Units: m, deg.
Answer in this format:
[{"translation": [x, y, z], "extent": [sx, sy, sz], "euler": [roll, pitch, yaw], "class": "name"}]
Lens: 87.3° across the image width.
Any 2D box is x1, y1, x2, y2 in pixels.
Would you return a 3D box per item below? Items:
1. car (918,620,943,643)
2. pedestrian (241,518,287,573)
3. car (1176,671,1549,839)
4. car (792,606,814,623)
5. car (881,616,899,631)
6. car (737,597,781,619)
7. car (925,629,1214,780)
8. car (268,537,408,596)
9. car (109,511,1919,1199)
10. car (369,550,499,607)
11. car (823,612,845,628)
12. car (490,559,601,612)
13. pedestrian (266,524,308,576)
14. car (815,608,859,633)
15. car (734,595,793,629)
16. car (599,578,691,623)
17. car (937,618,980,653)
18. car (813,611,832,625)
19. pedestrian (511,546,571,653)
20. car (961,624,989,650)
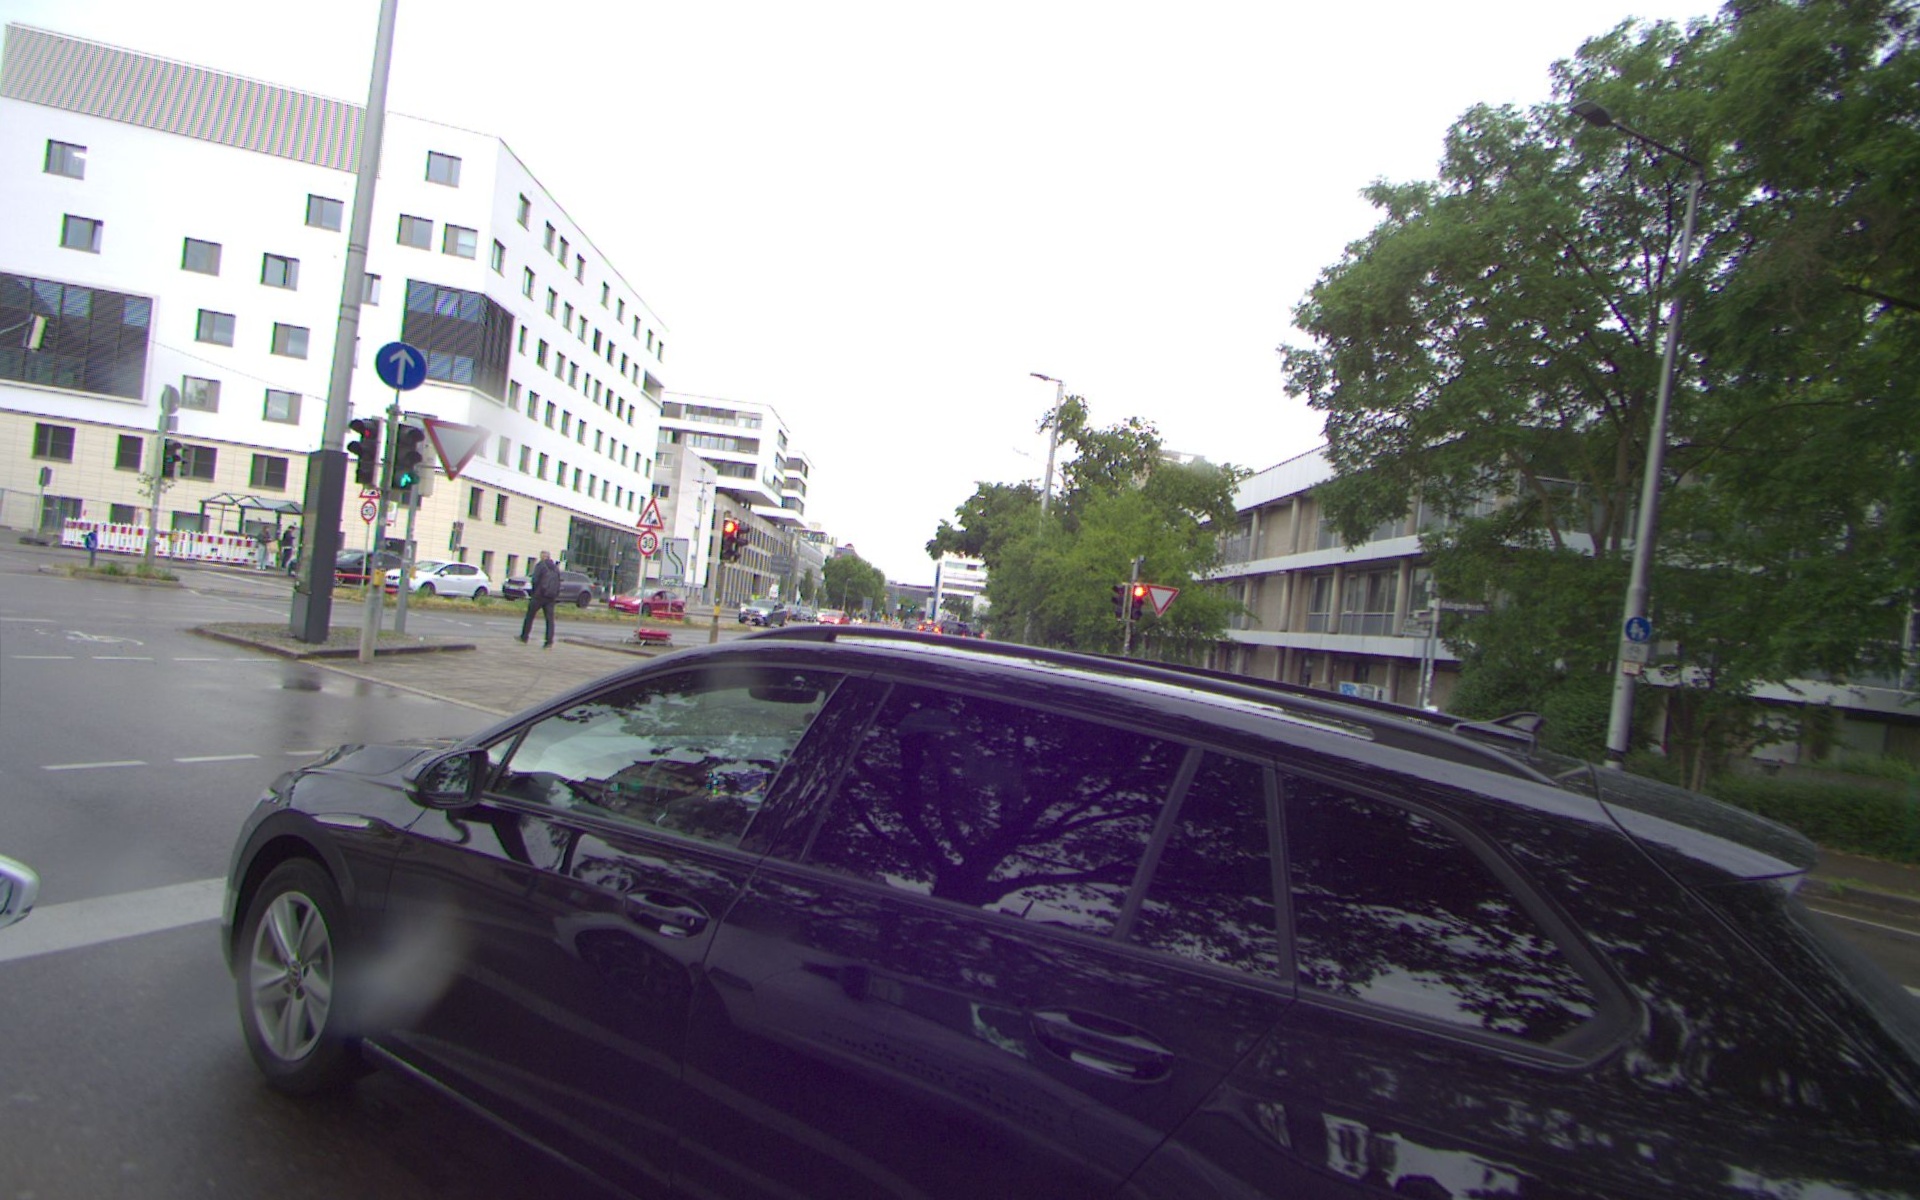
[{"translation": [-2.526, 2.755, 87.411], "extent": [1.764, 1.726, 4.690], "euler": [8, -1, 2], "class": "car"}, {"translation": [-26.238, -2.046, 37.945], "extent": [0.808, 1.860, 0.955], "euler": [6, -2, 21], "class": "pedestrian"}, {"translation": [5.343, 2.030, 13.917], "extent": [1.853, 1.466, 4.360], "euler": [9, -2, -37], "class": "car"}, {"translation": [-15.501, 1.415, 99.612], "extent": [1.966, 1.394, 4.383], "euler": [8, -1, -8], "class": "car"}, {"translation": [-9.738, 3.270, 139.276], "extent": [1.837, 1.669, 4.773], "euler": [7, -3, -10], "class": "car"}, {"translation": [-19.796, 0.770, 98.893], "extent": [4.003, 1.574, 1.962], "euler": [6, -3, 38], "class": "car"}, {"translation": [1.352, 1.373, 14.043], "extent": [1.849, 1.466, 3.968], "euler": [8, -2, -31], "class": "car"}, {"translation": [-22.317, -1.155, 36.294], "extent": [1.764, 1.459, 4.006], "euler": [7, -3, 17], "class": "car"}, {"translation": [-0.277, 0.774, 2.739], "extent": [4.437, 1.483, 1.673], "euler": [7, -1, 31], "class": "car"}, {"translation": [-19.080, -0.736, 36.716], "extent": [1.764, 1.459, 4.006], "euler": [7, -3, 17], "class": "car"}, {"translation": [-14.037, 2.253, 111.909], "extent": [1.935, 1.466, 4.153], "euler": [8, -3, -12], "class": "car"}, {"translation": [-19.038, -0.630, 46.417], "extent": [1.965, 1.682, 4.391], "euler": [7, -4, 27], "class": "car"}, {"translation": [-27.166, -2.008, 40.602], "extent": [0.941, 1.957, 1.001], "euler": [5, -3, 41], "class": "pedestrian"}, {"translation": [-9.480, 1.640, 77.899], "extent": [1.929, 1.466, 4.166], "euler": [7, -3, 12], "class": "car"}, {"translation": [-11.999, 0.767, 61.829], "extent": [1.929, 1.554, 4.166], "euler": [7, -3, 12], "class": "car"}, {"translation": [-15.206, 0.054, 48.786], "extent": [1.929, 1.574, 4.536], "euler": [7, -3, 16], "class": "car"}, {"translation": [-0.050, 2.369, 65.618], "extent": [1.763, 1.930, 4.315], "euler": [8, -2, 11], "class": "car"}, {"translation": [-16.761, 2.234, 122.583], "extent": [1.934, 1.466, 4.156], "euler": [8, -3, -9], "class": "car"}, {"translation": [-8.003, -0.002, 19.247], "extent": [0.819, 1.913, 1.023], "euler": [7, -2, -22], "class": "pedestrian"}, {"translation": [1.307, 3.161, 85.494], "extent": [1.963, 1.829, 4.792], "euler": [8, -2, 3], "class": "car"}]
